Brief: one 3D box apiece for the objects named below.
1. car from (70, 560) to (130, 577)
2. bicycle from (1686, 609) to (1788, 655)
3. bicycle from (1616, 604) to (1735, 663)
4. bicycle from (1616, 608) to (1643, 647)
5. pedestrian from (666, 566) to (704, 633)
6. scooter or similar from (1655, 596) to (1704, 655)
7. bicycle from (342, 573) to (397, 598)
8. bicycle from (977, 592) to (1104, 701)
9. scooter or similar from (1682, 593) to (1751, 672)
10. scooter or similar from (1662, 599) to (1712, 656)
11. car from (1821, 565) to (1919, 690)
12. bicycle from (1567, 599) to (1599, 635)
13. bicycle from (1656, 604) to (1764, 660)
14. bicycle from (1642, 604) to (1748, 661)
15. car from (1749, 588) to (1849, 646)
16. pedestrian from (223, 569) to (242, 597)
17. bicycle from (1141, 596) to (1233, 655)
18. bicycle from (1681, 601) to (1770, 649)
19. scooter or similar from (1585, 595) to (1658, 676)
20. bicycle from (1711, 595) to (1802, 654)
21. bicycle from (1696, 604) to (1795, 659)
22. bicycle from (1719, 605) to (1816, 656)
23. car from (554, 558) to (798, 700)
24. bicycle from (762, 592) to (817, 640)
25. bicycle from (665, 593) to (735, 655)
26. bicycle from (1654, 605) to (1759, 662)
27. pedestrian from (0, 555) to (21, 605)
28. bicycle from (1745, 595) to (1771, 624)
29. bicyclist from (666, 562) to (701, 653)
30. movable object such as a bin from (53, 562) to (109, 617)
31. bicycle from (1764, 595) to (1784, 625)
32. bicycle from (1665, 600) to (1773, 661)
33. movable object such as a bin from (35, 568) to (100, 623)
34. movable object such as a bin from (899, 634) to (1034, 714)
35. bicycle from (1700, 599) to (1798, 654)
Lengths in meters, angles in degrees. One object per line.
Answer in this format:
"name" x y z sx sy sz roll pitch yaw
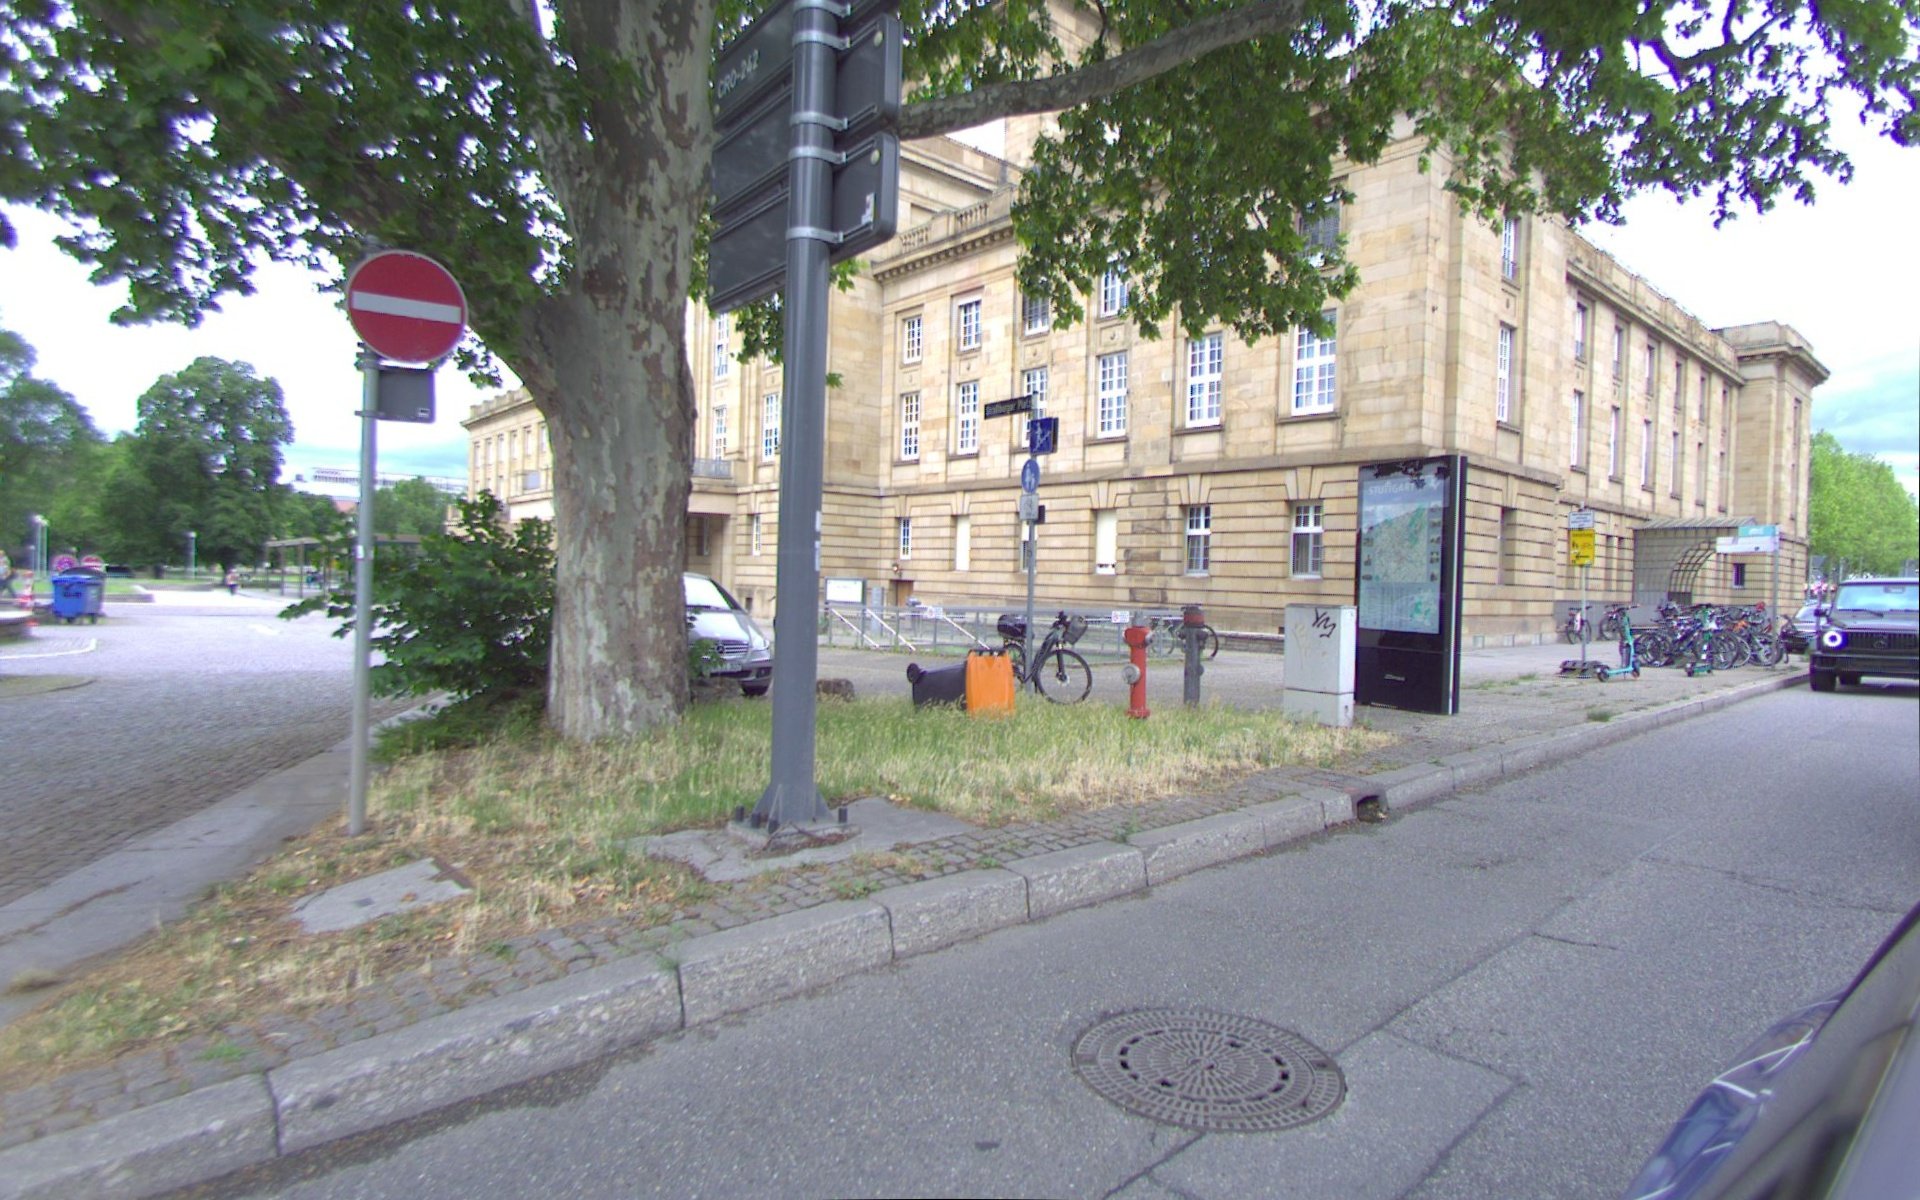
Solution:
"car" -92.952 -3.353 109.465 4.823 1.761 2.076 -1 0 -38
"bicycle" 17.410 0.701 22.722 0.601 0.928 1.737 0 1 -22
"bicycle" 14.336 0.641 20.336 0.652 1.105 1.866 0 0 -28
"bicycle" 21.160 0.855 31.988 1.510 1.198 0.276 0 0 -39
"pedestrian" -7.295 -0.011 26.843 0.693 1.744 0.680 1 1 -42
"scooter or similar" 16.242 0.557 22.842 1.126 1.295 0.564 0 0 -35
"bicycle" -32.565 -0.813 55.851 2.534 1.362 0.726 -1 0 -41
"bicycle" 0.970 0.538 12.628 0.483 1.236 1.790 1 1 -38
"scooter or similar" 13.403 0.546 17.921 1.389 1.348 0.726 0 0 -42
"scooter or similar" 16.263 0.602 22.630 1.286 1.239 0.427 -1 0 -31
"car" 16.451 0.423 17.359 4.323 1.950 1.951 0 1 -42
"bicycle" 17.867 0.472 29.017 1.929 1.010 0.240 0 1 -42
"bicycle" 15.596 0.643 21.081 0.563 1.105 1.735 0 0 -32
"bicycle" 14.929 0.632 20.594 0.417 1.105 1.736 0 0 -28
"car" 24.709 0.504 29.758 4.253 1.504 1.790 2 1 -44
"pedestrian" -48.482 -1.124 67.445 0.539 1.828 0.940 -1 -1 22
"bicycle" 4.676 0.499 20.964 0.382 1.139 2.014 0 1 -41
"bicycle" 17.229 0.554 22.816 0.427 1.041 1.570 0 0 -29
"scooter or similar" 10.959 0.564 16.751 1.405 1.297 0.433 0 0 -30
"bicycle" 17.949 0.535 22.841 0.532 1.273 1.550 0 0 -22
"bicycle" 16.944 0.663 21.862 1.596 1.144 0.466 0 0 24
"bicycle" 18.327 0.678 23.009 0.573 1.088 1.671 0 1 -22
"car" -3.857 0.285 13.360 1.650 1.588 3.843 0 1 -40
"bicycle" -4.111 0.357 24.221 0.418 1.114 2.172 0 0 -35
"bicycle" -5.187 0.453 20.114 1.748 1.146 0.437 2 1 42
"bicycle" 15.303 0.660 20.785 0.373 1.105 1.736 0 0 -28
"pedestrian" -34.848 -0.732 37.032 0.493 1.828 0.544 -1 -1 22
"bicycle" 34.868 0.389 44.198 1.883 1.232 0.556 0 1 -42
"bicyclist" -5.450 0.138 19.958 0.436 1.770 0.468 1 1 41
"movable object such as a bin" -25.086 -0.312 28.908 1.132 1.515 1.412 0 1 -38
"bicycle" 36.226 0.425 45.027 1.759 1.304 0.413 0 1 -42
"bicycle" 15.971 0.612 21.334 0.594 1.224 1.759 1 0 -44
"movable object such as a bin" -22.235 -0.122 25.238 1.132 1.320 1.412 0 1 -38
"movable object such as a bin" 0.037 0.687 9.816 0.715 0.660 1.304 -1 0 -32
"bicycle" 16.906 0.551 21.708 1.596 1.144 0.405 0 0 24
